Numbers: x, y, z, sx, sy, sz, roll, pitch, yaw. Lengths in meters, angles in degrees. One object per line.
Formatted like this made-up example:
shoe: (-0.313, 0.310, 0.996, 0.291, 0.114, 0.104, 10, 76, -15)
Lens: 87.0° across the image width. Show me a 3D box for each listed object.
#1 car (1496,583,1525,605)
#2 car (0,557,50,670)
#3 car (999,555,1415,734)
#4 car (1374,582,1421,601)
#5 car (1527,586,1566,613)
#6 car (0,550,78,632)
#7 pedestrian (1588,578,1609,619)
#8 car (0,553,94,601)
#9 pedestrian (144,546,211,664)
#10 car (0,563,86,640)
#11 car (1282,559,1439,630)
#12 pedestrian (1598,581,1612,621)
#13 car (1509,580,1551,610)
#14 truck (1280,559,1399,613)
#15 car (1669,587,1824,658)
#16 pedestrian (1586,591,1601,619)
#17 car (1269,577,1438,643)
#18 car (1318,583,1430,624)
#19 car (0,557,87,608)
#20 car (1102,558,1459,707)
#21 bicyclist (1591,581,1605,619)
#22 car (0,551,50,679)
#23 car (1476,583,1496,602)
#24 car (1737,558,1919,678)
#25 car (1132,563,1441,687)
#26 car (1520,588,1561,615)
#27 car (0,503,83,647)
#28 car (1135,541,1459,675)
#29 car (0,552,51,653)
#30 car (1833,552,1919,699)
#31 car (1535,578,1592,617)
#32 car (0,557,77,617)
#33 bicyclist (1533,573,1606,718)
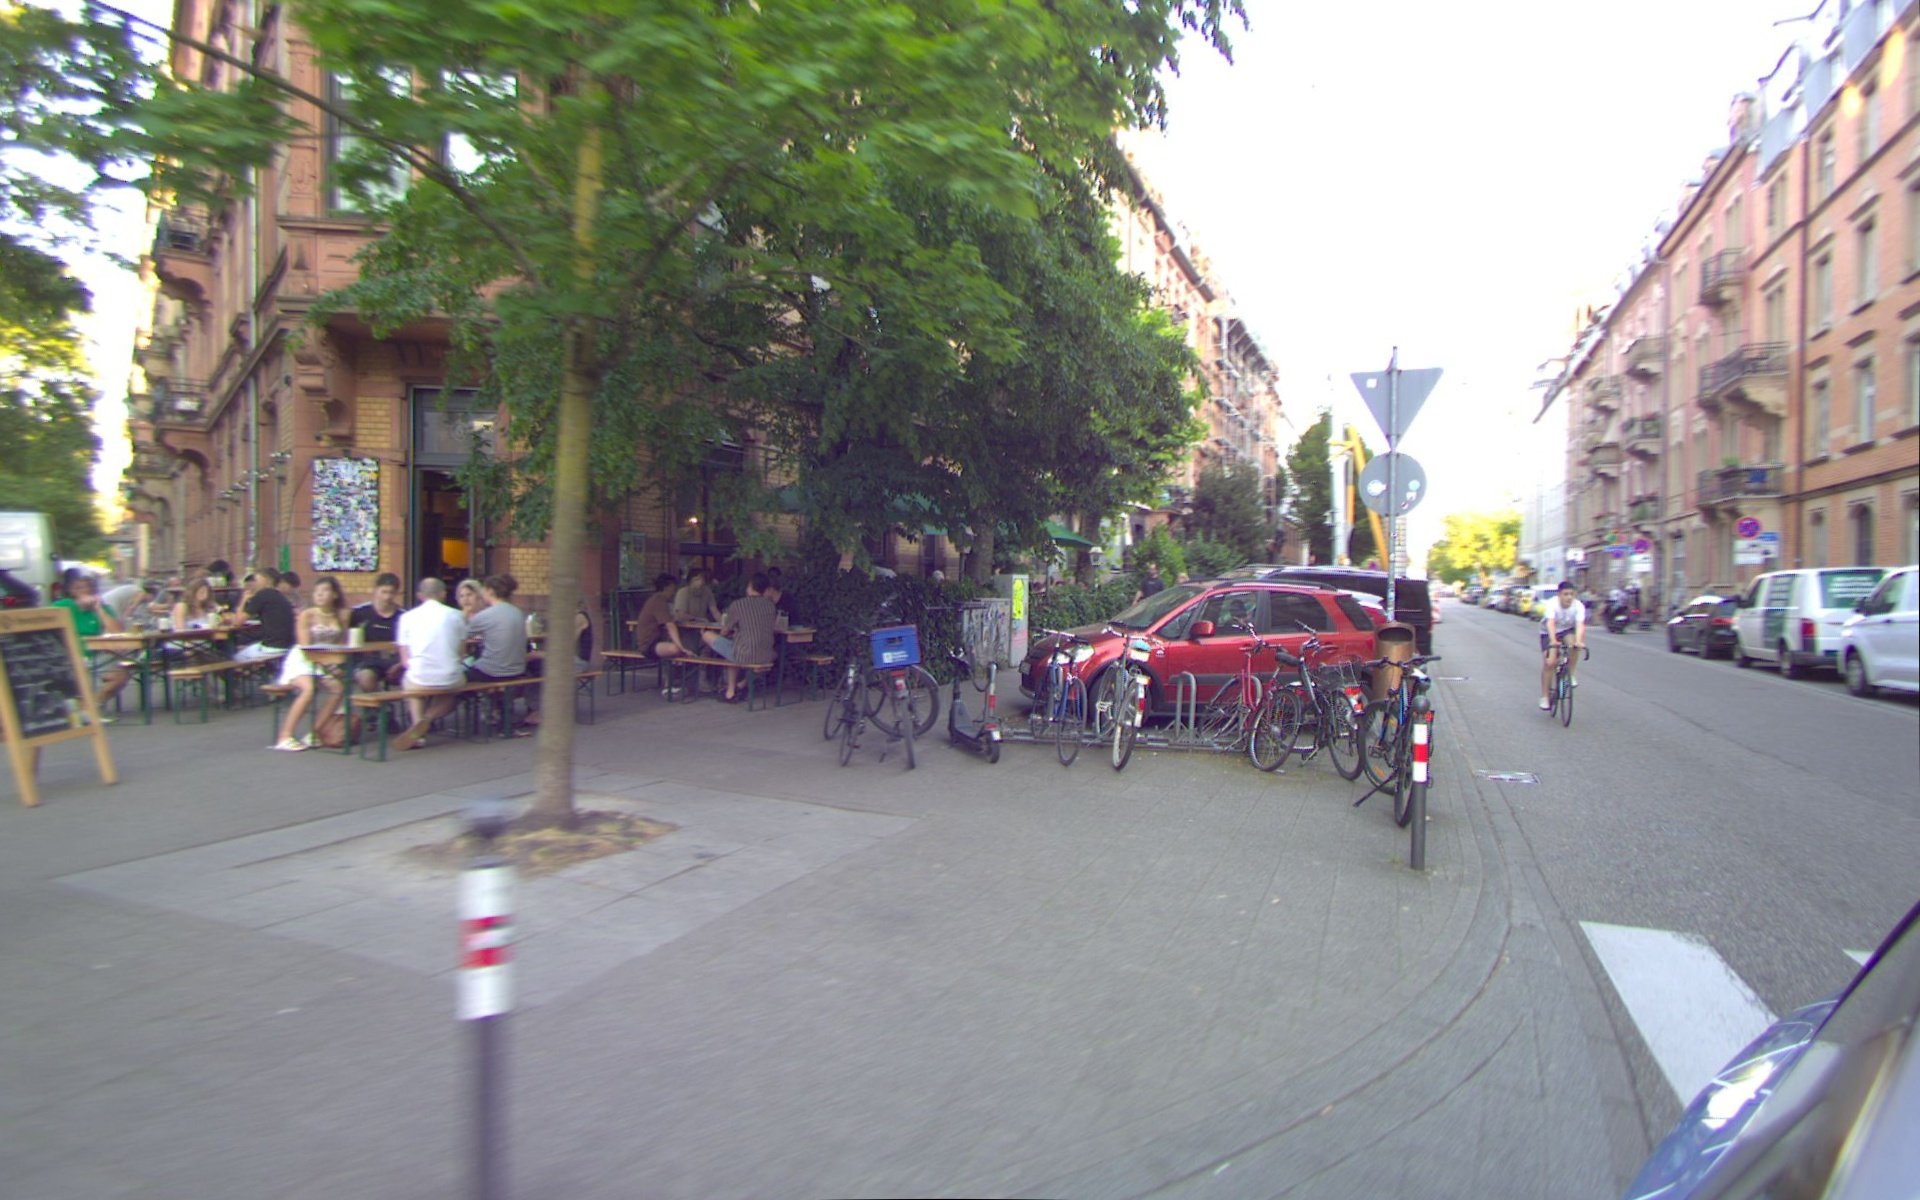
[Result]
car: (43.979, -0.477, 80.925, 1.713, 1.668, 3.884, -1, 0, 25)
car: (-15.019, 0.219, 13.446, 4.216, 1.545, 1.909, -2, 1, -39)
car: (2.546, 0.458, 10.955, 3.967, 1.648, 1.695, 2, 0, -6)
car: (41.976, -0.820, 97.109, 3.757, 1.537, 1.681, 3, 2, -7)
car: (34.072, -0.055, 58.842, 1.694, 1.549, 3.758, 0, 1, 26)
car: (-22.489, -0.178, 22.373, 4.466, 1.807, 1.997, -2, 1, -41)
pedestrian: (29.126, -0.065, 46.170, 0.591, 1.837, 0.717, -1, 0, 16)
car: (-36.966, -0.880, 39.222, 5.109, 1.807, 1.997, -2, 1, -41)
pedestrian: (-11.625, 0.058, 15.055, 0.733, 1.698, 0.766, -1, 1, -36)
car: (-20.611, 0.045, 20.407, 4.466, 1.545, 1.997, -2, 1, -41)
car: (14.478, -0.208, 36.761, 4.844, 2.392, 2.000, 1, 1, 0)
pedestrian: (28.158, 0.027, 44.164, 0.414, 1.730, 0.348, -1, 0, 20)
car: (38.055, -0.352, 67.675, 1.912, 1.906, 4.866, 0, 1, 24)
truck: (22.877, -0.802, 61.056, 6.442, 3.115, 2.499, 0, 1, 29)
car: (18.423, 0.457, 23.929, 1.822, 1.489, 4.141, 1, 1, 23)
pedestrian: (29.362, 0.227, 46.923, 0.474, 1.266, 0.647, -1, 0, 25)
car: (11.220, 0.264, 29.022, 4.026, 1.610, 1.821, 3, 1, -5)
car: (16.995, 0.132, 41.659, 3.793, 1.535, 1.848, 1, 1, 0)
car: (-34.818, -0.618, 36.892, 4.466, 1.807, 1.997, -2, 1, -41)
car: (4.278, 0.411, 13.790, 4.136, 1.709, 1.938, 3, 1, -13)
bicyclist: (27.518, 0.000, 43.632, 0.463, 1.610, 0.482, -1, 0, 28)
car: (-13.565, 0.224, 11.837, 4.216, 1.545, 1.909, -2, 1, -39)
car: (56.563, -0.821, 108.881, 1.769, 1.894, 4.418, -1, 1, 26)
car: (16.142, 0.251, 18.709, 1.824, 1.945, 4.803, 1, 1, 25)
car: (5.084, 0.358, 16.082, 4.138, 1.642, 1.937, 3, 1, -8)
car: (35.980, 0.050, 62.797, 1.914, 1.616, 3.934, 0, 1, 26)
car: (-18.319, -0.383, 16.920, 5.450, 2.451, 2.241, -2, 1, -43)
car: (6.166, 0.147, 18.680, 5.323, 2.098, 1.938, 3, 1, -13)
car: (-16.621, 0.075, 15.064, 4.463, 1.545, 1.998, -2, 1, -39)
car: (13.739, 0.340, 13.203, 2.092, 1.945, 4.987, 1, 1, 23)
car: (29.573, -0.153, 49.680, 1.756, 1.811, 4.553, 0, 1, 23)
car: (-30.121, -0.381, 31.087, 4.466, 1.807, 1.997, -2, 1, -41)
bicyclist: (7.476, 0.536, 12.444, 0.521, 1.725, 0.787, -1, 0, 12)
